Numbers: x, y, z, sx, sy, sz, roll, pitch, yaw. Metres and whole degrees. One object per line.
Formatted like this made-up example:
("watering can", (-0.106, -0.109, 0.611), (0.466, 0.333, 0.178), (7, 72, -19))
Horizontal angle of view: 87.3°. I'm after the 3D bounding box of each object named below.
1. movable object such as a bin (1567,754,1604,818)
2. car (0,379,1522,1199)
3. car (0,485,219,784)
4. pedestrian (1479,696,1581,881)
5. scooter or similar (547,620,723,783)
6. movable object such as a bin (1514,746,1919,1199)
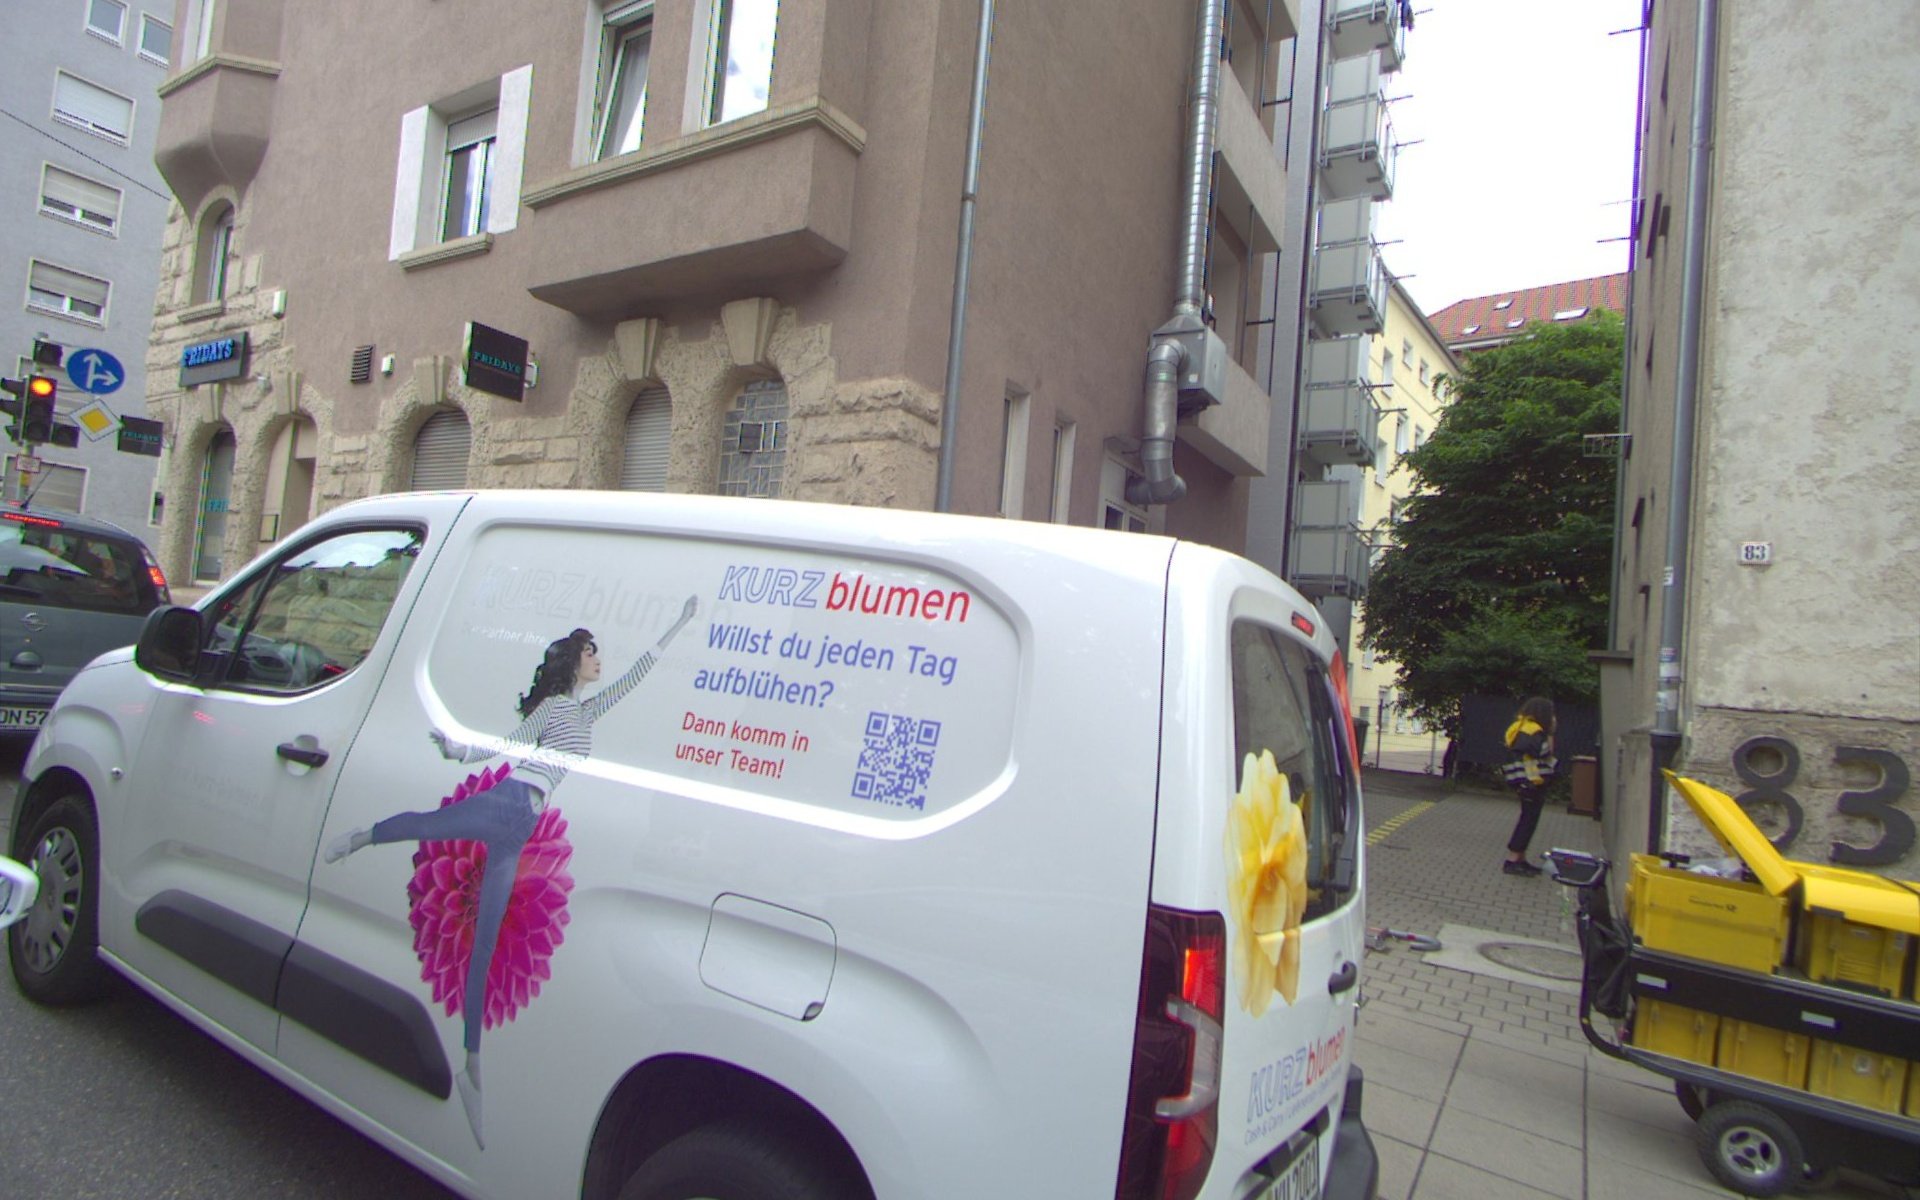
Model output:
("movable object such as a bin", (9.936, 2.944, 15.984), (0.405, 0.922, 0.340), (6, -1, 32))
("car", (-0.971, 0.562, 3.150), (4.597, 1.793, 1.983), (6, -5, 30))
("car", (-6.707, 0.049, 6.533), (3.608, 1.614, 1.634), (6, -5, 32))
("pedestrian", (5.544, 1.788, 9.824), (0.770, 1.665, 0.811), (1, -3, 24))
("scooter or similar", (-2.702, 0.812, 8.320), (1.400, 1.117, 0.527), (6, -1, 34))
("movable object such as a bin", (3.380, 1.458, 3.955), (1.979, 1.391, 1.223), (6, 0, 30))
